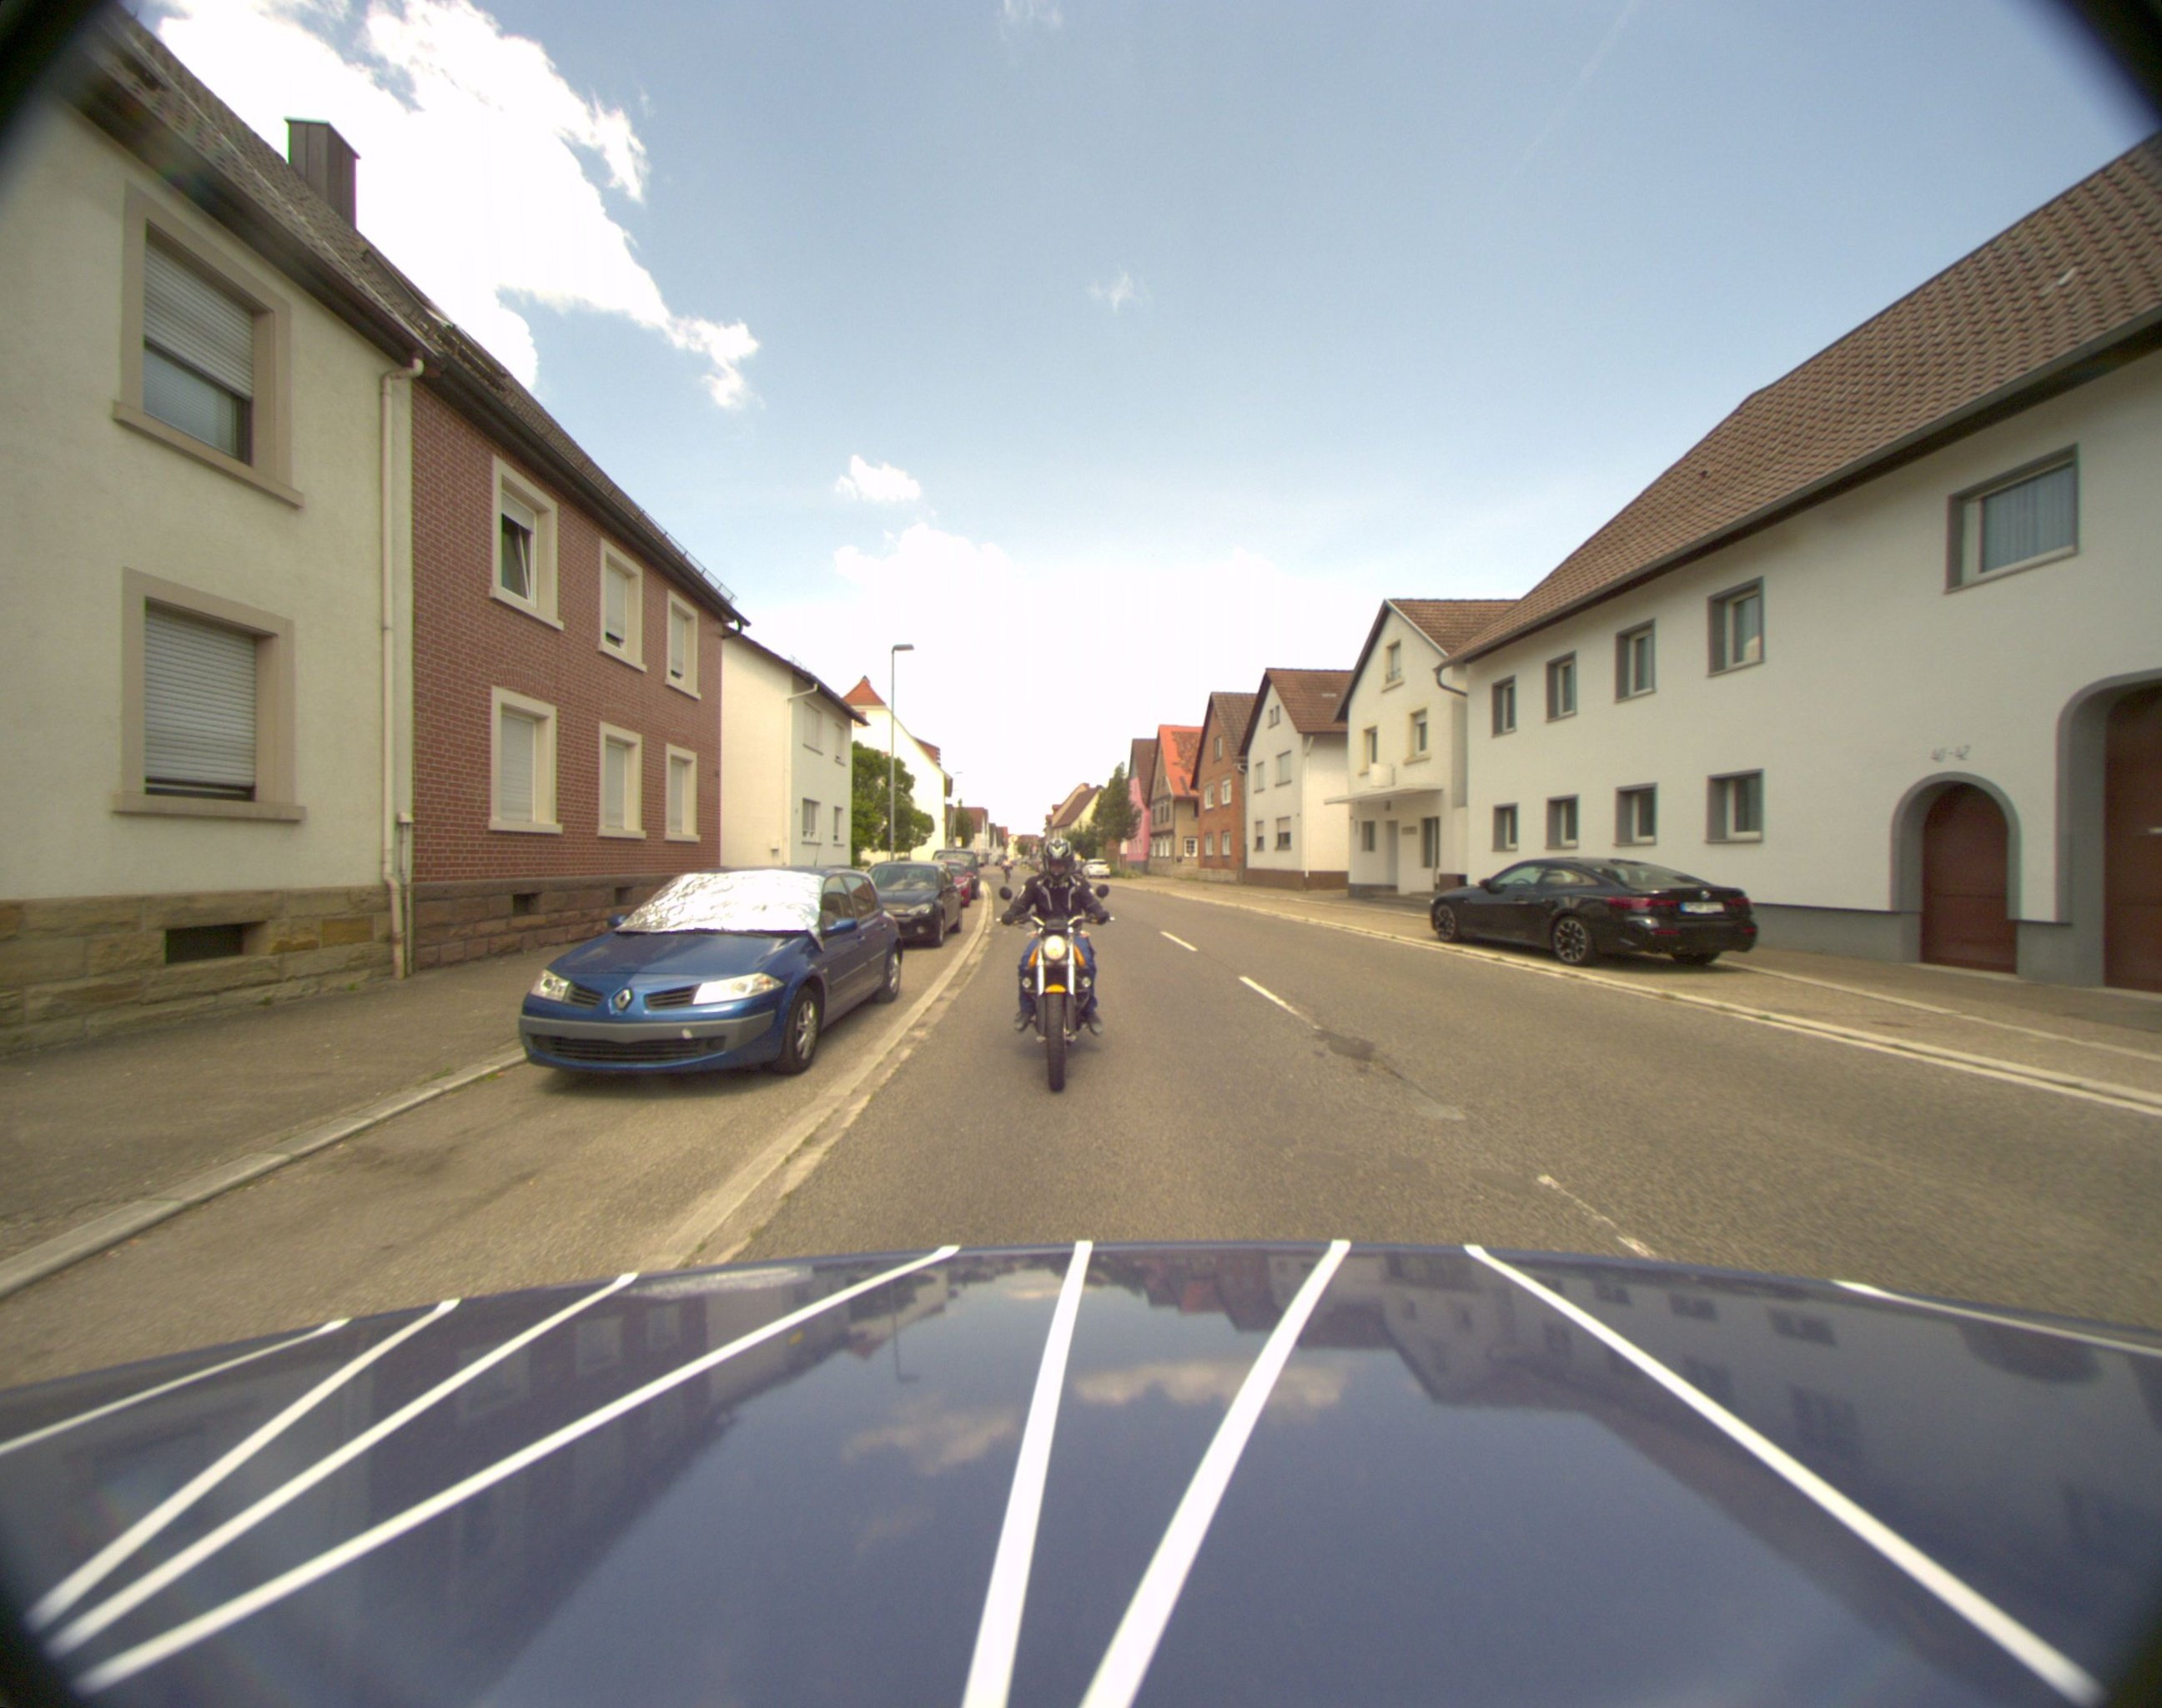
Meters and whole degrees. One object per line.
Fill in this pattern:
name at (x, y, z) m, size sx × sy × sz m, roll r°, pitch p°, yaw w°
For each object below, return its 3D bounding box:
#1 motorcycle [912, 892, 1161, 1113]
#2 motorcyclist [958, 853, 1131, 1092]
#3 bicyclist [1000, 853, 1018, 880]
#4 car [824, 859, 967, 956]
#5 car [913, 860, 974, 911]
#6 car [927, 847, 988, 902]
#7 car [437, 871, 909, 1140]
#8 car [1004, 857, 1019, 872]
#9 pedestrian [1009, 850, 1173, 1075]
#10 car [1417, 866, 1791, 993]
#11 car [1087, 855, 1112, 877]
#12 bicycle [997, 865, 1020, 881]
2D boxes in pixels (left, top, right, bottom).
motorcycle at (-0.214, 0.963, 5.745) m, size 0.983 × 1.233 × 2.107 m, roll -2°, pitch -1°, yaw 24°
motorcyclist at (-0.248, 0.807, 5.677) m, size 0.998 × 1.591 × 0.801 m, roll -1°, pitch 2°, yaw 24°
bicyclist at (-4.632, 0.810, 48.966) m, size 0.908 × 1.679 × 0.762 m, roll -1°, pitch 2°, yaw 13°
car at (-3.237, 0.919, 14.052) m, size 1.773 × 1.520 × 4.001 m, roll 0°, pitch -2°, yaw -2°
car at (-4.461, 0.956, 25.185) m, size 1.744 × 1.495 × 4.555 m, roll 0°, pitch 0°, yaw -7°
car at (-4.823, 0.731, 30.277) m, size 1.931 × 1.904 × 5.243 m, roll -1°, pitch 1°, yaw -5°
car at (-2.797, 0.916, 6.375) m, size 1.727 × 1.377 × 3.999 m, roll 0°, pitch 1°, yaw 1°
car at (-10.413, 1.557, 113.680) m, size 1.999 × 2.002 × 3.998 m, roll -1°, pitch 1°, yaw -3°
pedestrian at (0.099, 0.771, 5.899) m, size 0.998 × 1.565 × 0.801 m, roll -1°, pitch 2°, yaw 24°
car at (6.895, 0.875, 10.831) m, size 1.771 × 1.341 × 4.754 m, roll -1°, pitch -1°, yaw -5°
car at (1.411, 0.905, 59.715) m, size 1.684 × 1.521 × 3.497 m, roll -1°, pitch 1°, yaw -3°
bicycle at (-4.637, 1.221, 48.952) m, size 0.933 × 1.005 × 1.926 m, roll -1°, pitch -1°, yaw 12°
